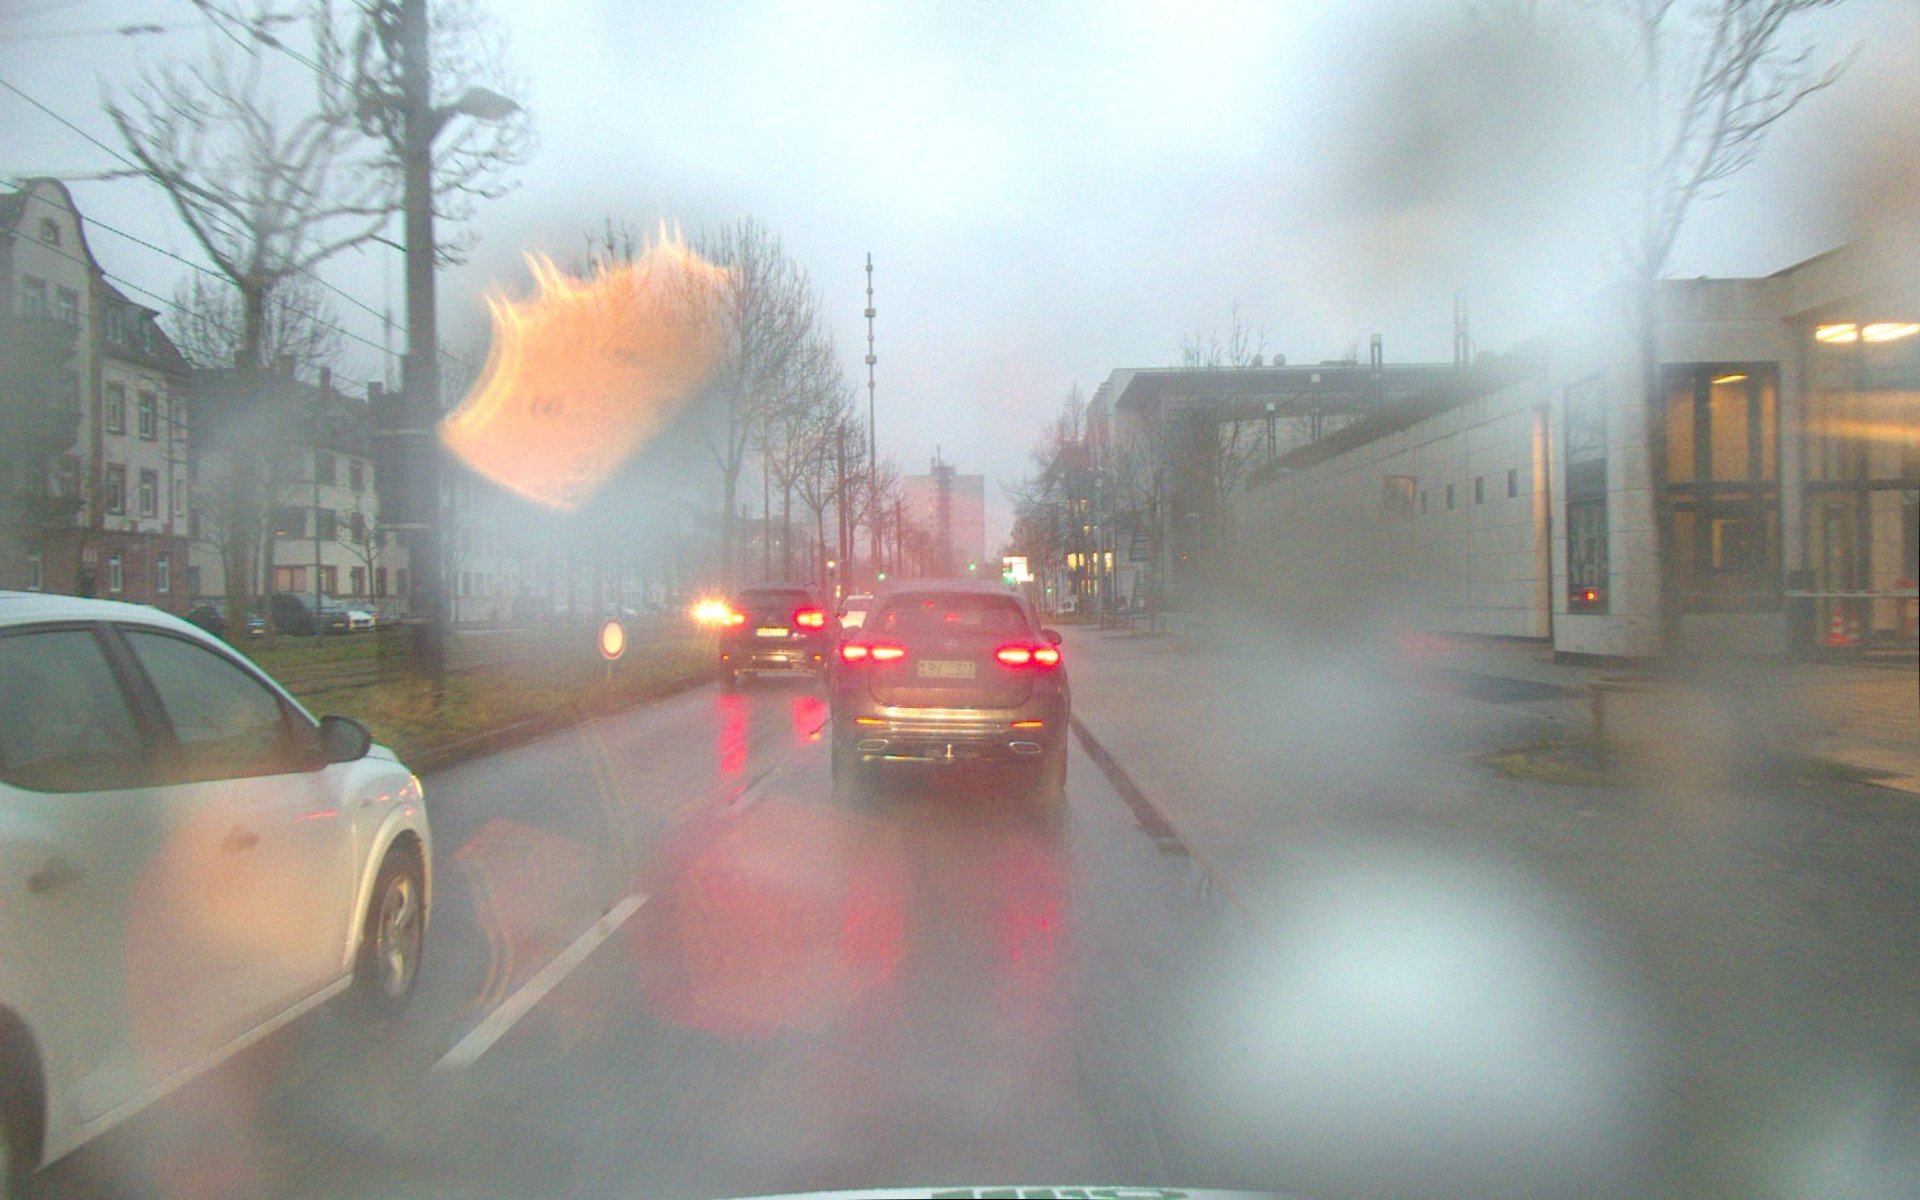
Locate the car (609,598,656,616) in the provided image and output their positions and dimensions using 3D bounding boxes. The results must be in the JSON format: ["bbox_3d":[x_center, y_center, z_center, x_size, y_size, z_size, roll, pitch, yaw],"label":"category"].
[{"bbox_3d":[-26.198,0.595,132.262,3.483,1.378,1.776,-1,0,34],"label":"car"}]

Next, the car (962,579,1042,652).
[{"bbox_3d":[1.081,0.385,42.757,1.952,1.774,4.000,-1,0,1],"label":"car"}]

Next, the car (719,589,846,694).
[{"bbox_3d":[-2.932,0.648,28.008,1.637,1.628,4.054,0,0,1],"label":"car"}]

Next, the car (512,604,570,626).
[{"bbox_3d":[-26.883,0.951,106.149,3.483,1.378,1.776,-1,0,34],"label":"car"}]

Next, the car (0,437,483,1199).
[{"bbox_3d":[-2.594,0.519,4.386,1.638,1.628,4.051,0,0,-3],"label":"car"}]

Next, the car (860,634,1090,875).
[{"bbox_3d":[0.143,1.149,13.890,1.637,1.628,4.054,0,0,1],"label":"car"}]

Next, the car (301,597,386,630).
[{"bbox_3d":[-26.750,0.586,71.716,3.483,1.378,1.776,-1,0,34],"label":"car"}]

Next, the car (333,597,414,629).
[{"bbox_3d":[-26.730,0.592,75.375,3.483,1.378,1.776,-1,0,34],"label":"car"}]

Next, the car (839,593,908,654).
[{"bbox_3d":[-2.374,0.633,46.358,1.637,1.628,4.054,0,0,1],"label":"car"}]

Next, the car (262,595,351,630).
[{"bbox_3d":[-26.891,0.506,68.067,3.483,1.378,1.776,-1,0,34],"label":"car"}]

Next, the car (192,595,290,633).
[{"bbox_3d":[-26.815,0.522,61.677,3.483,1.378,1.776,-1,0,34],"label":"car"}]
